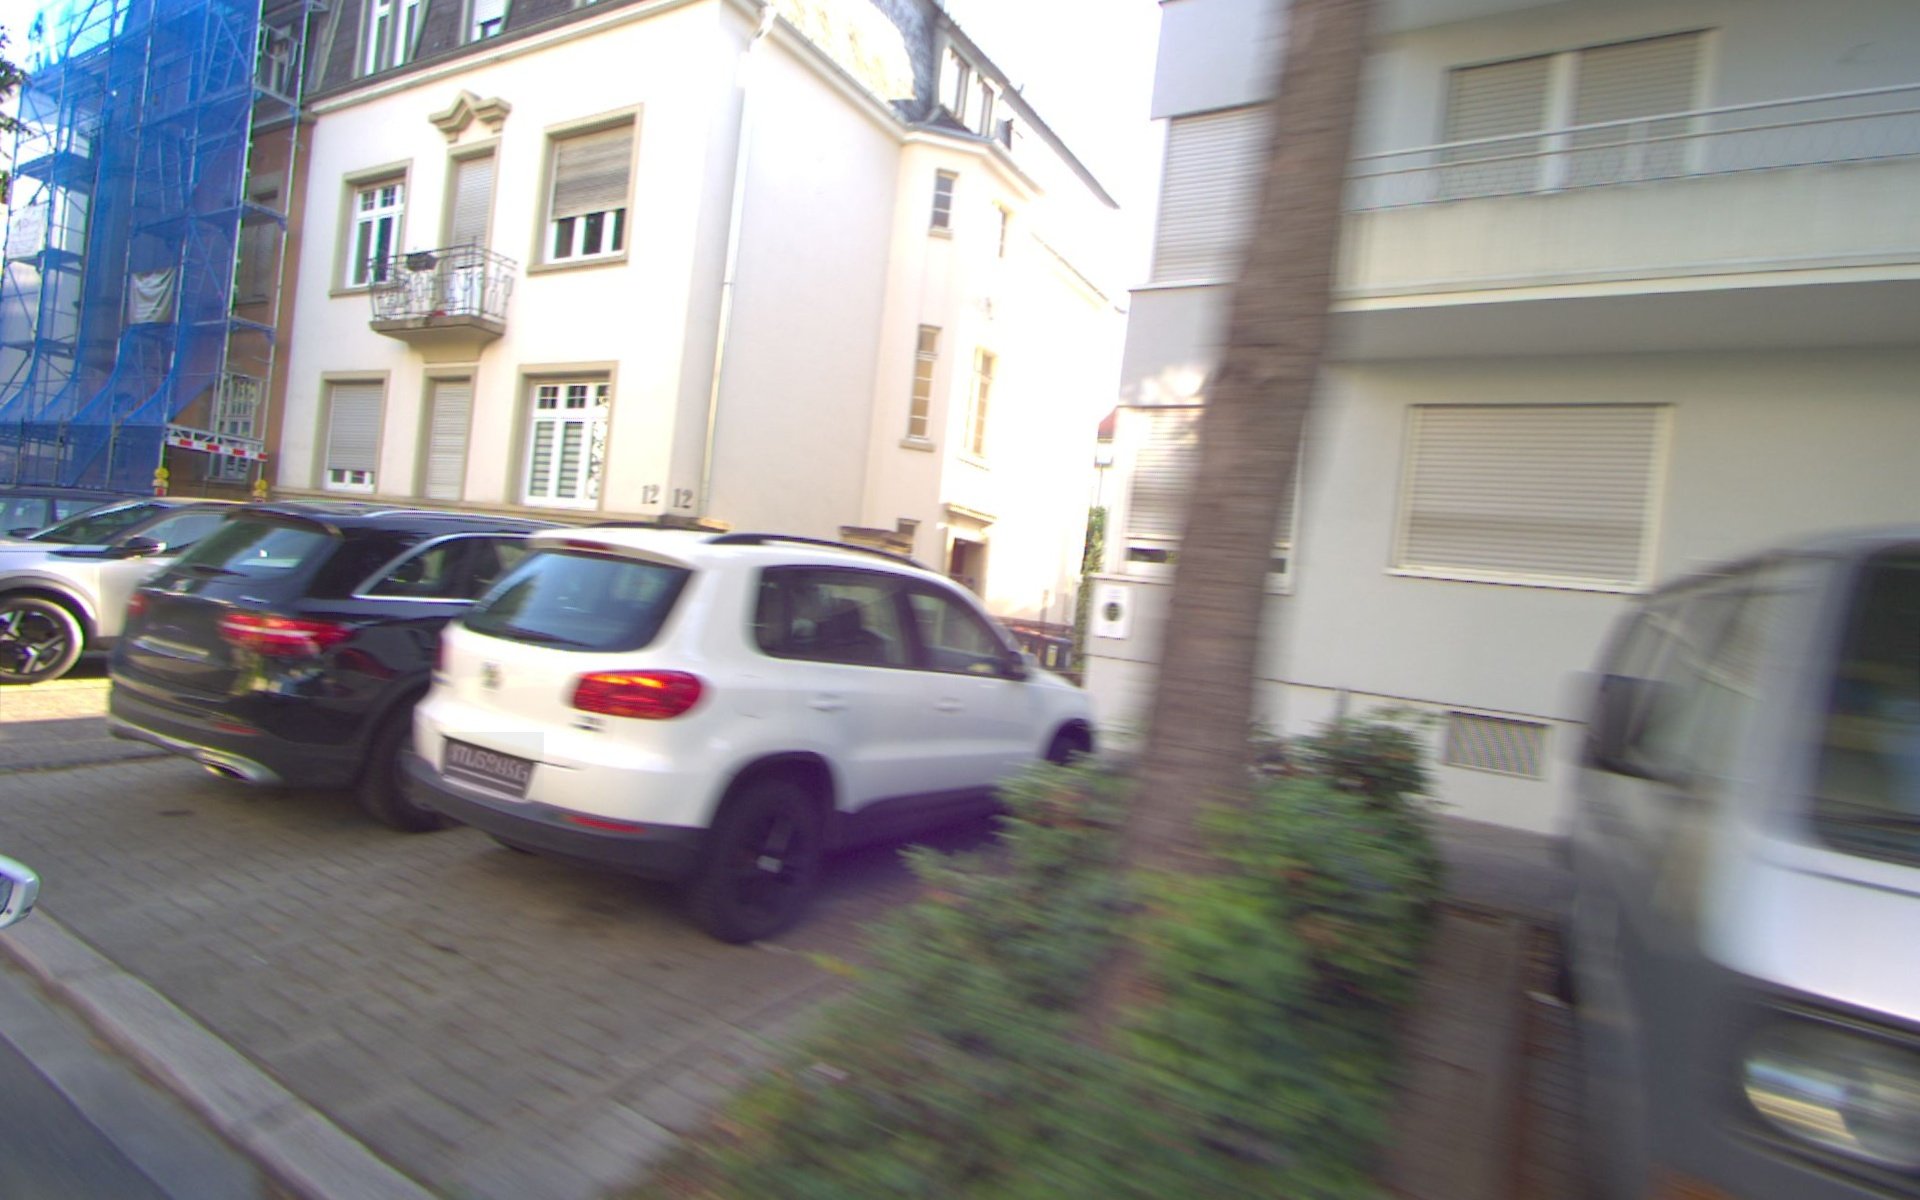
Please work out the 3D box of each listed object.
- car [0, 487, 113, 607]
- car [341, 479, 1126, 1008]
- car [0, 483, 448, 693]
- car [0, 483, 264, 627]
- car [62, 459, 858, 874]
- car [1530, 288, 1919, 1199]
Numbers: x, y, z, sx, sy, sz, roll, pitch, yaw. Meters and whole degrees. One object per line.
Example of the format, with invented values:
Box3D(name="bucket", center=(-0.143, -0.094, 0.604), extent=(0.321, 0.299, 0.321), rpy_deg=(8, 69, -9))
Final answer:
Box3D(name="car", center=(-13.653, -0.822, 12.811), extent=(1.821, 1.511, 3.988), rpy_deg=(7, 1, 33))
Box3D(name="car", center=(-0.782, 0.523, 5.440), extent=(1.678, 1.705, 3.949), rpy_deg=(8, 2, 34))
Box3D(name="car", center=(-7.207, -0.118, 9.135), extent=(1.820, 1.559, 4.158), rpy_deg=(7, 1, 31))
Box3D(name="car", center=(-11.325, -0.598, 11.886), extent=(1.820, 1.555, 4.720), rpy_deg=(7, 1, 31))
Box3D(name="car", center=(-2.701, 0.322, 6.548), extent=(1.677, 1.705, 4.335), rpy_deg=(7, 1, 30))
Box3D(name="car", center=(2.861, 0.836, 2.895), extent=(1.864, 2.038, 4.477), rpy_deg=(7, 0, 29))
